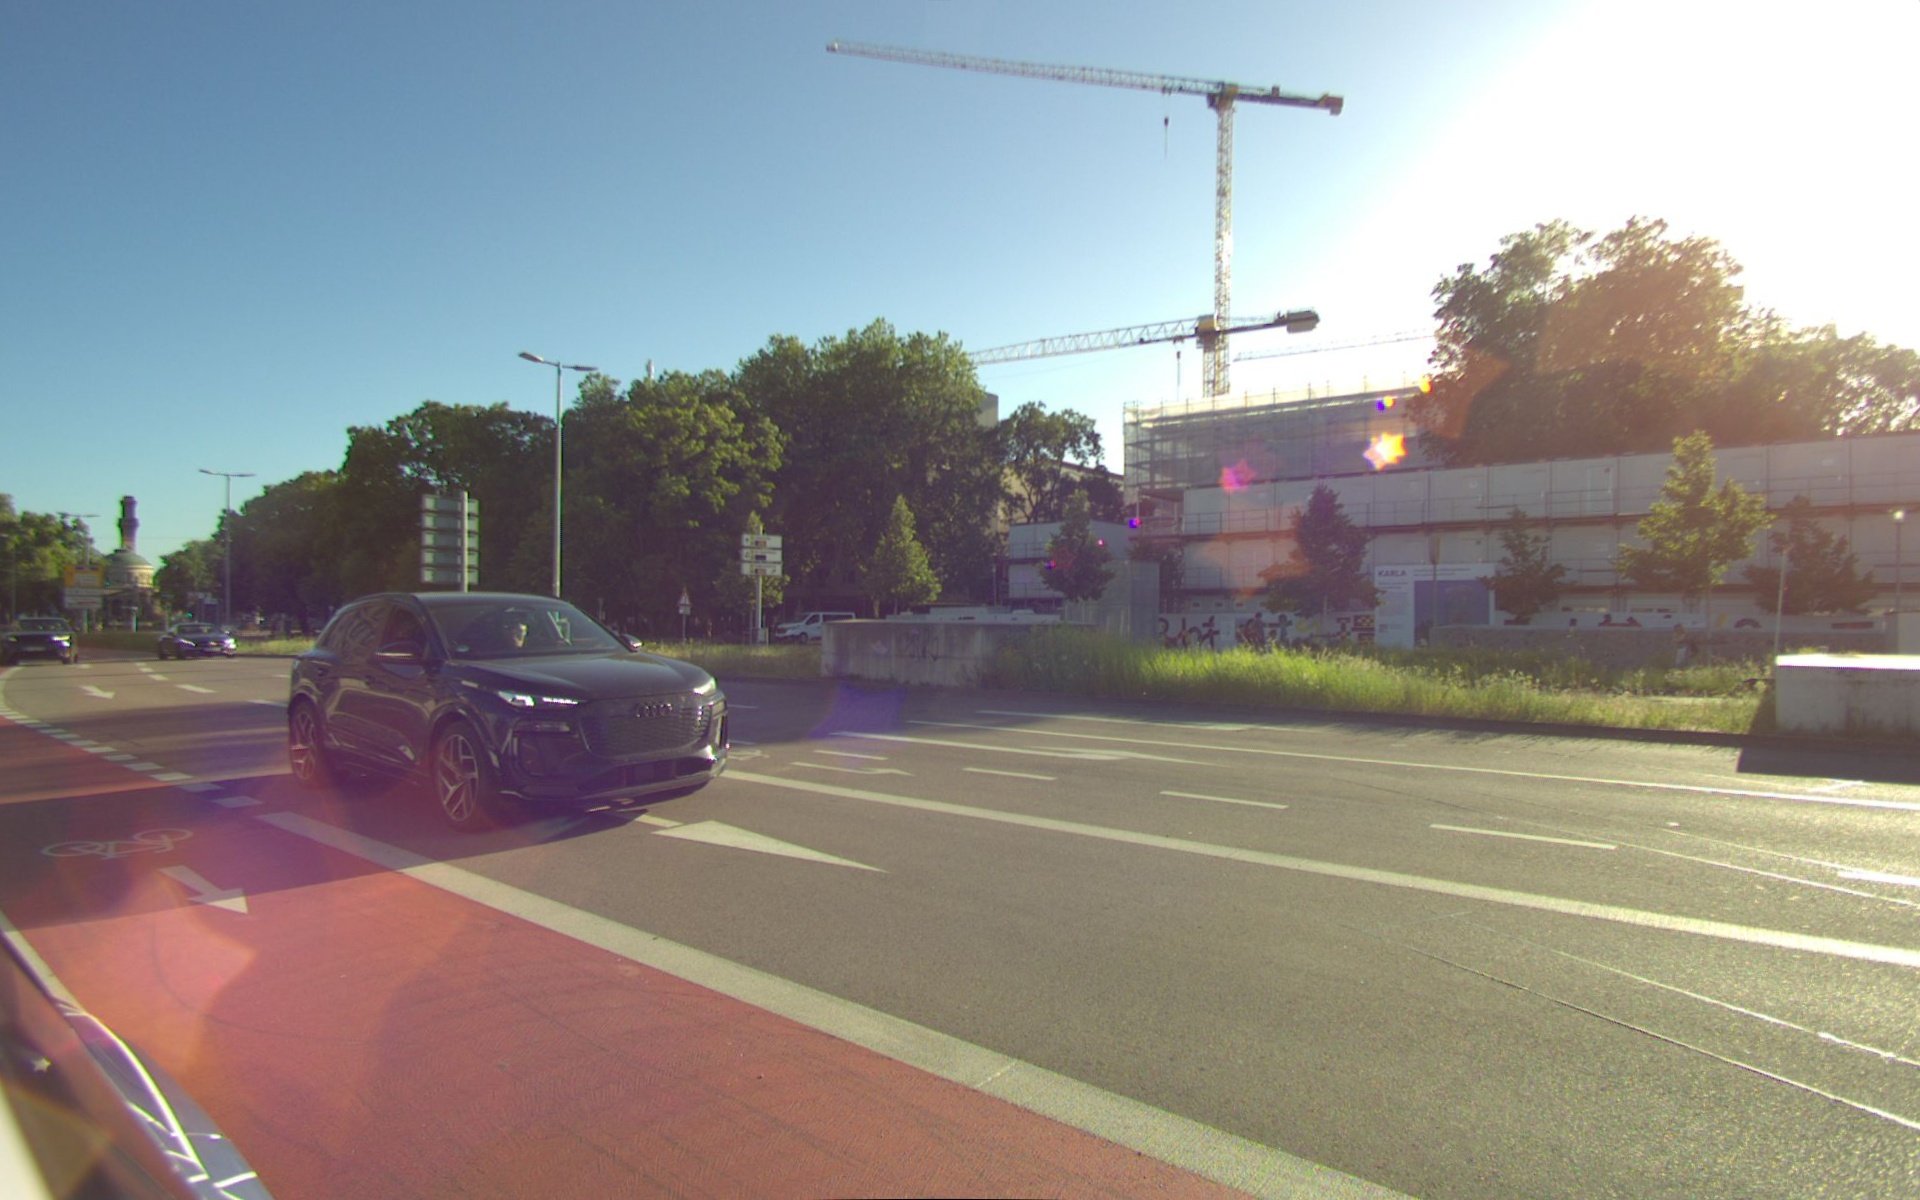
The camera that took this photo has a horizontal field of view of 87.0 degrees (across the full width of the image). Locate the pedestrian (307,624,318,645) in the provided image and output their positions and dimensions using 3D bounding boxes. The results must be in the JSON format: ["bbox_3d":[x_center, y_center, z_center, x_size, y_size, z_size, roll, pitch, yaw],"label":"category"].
[{"bbox_3d":[-58.501,3.144,91.430,0.924,1.862,0.620,-1,-2,40],"label":"pedestrian"}]

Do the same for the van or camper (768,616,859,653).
[{"bbox_3d":[-8.927,2.047,61.954,1.948,2.029,5.576,-1,0,42],"label":"van or camper"}]

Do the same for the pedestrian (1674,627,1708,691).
[{"bbox_3d":[19.388,1.551,26.842,0.626,1.665,0.930,-1,-2,41],"label":"pedestrian"}]

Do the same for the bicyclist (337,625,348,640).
[{"bbox_3d":[-52.696,2.776,86.379,0.714,1.291,0.603,-1,-2,40],"label":"bicyclist"}]

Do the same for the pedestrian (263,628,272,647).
[{"bbox_3d":[-68.260,3.673,99.760,0.733,1.862,0.561,-1,-2,40],"label":"pedestrian"}]

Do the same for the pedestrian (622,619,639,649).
[{"bbox_3d":[-19.679,2.020,60.433,0.761,1.738,0.698,-1,-2,39],"label":"pedestrian"}]

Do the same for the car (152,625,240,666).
[{"bbox_3d":[-29.863,1.733,39.514,4.488,1.417,1.972,-1,0,43],"label":"car"}]

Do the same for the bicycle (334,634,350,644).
[{"bbox_3d":[-52.737,3.313,86.375,1.744,0.849,0.602,-1,-2,40],"label":"bicycle"}]

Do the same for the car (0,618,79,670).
[{"bbox_3d":[-32.334,1.504,35.429,1.968,1.732,4.334,1,-2,-38],"label":"car"}]

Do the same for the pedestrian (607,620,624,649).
[{"bbox_3d":[-20.340,2.028,59.765,0.762,1.738,0.656,-1,-2,41],"label":"pedestrian"}]

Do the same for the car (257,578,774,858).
[{"bbox_3d":[-3.774,0.746,8.201,4.610,1.656,1.914,-1,-1,38],"label":"car"}]

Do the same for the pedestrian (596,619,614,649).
[{"bbox_3d":[-20.695,1.989,58.976,0.762,1.738,0.698,-1,-2,41],"label":"pedestrian"}]
